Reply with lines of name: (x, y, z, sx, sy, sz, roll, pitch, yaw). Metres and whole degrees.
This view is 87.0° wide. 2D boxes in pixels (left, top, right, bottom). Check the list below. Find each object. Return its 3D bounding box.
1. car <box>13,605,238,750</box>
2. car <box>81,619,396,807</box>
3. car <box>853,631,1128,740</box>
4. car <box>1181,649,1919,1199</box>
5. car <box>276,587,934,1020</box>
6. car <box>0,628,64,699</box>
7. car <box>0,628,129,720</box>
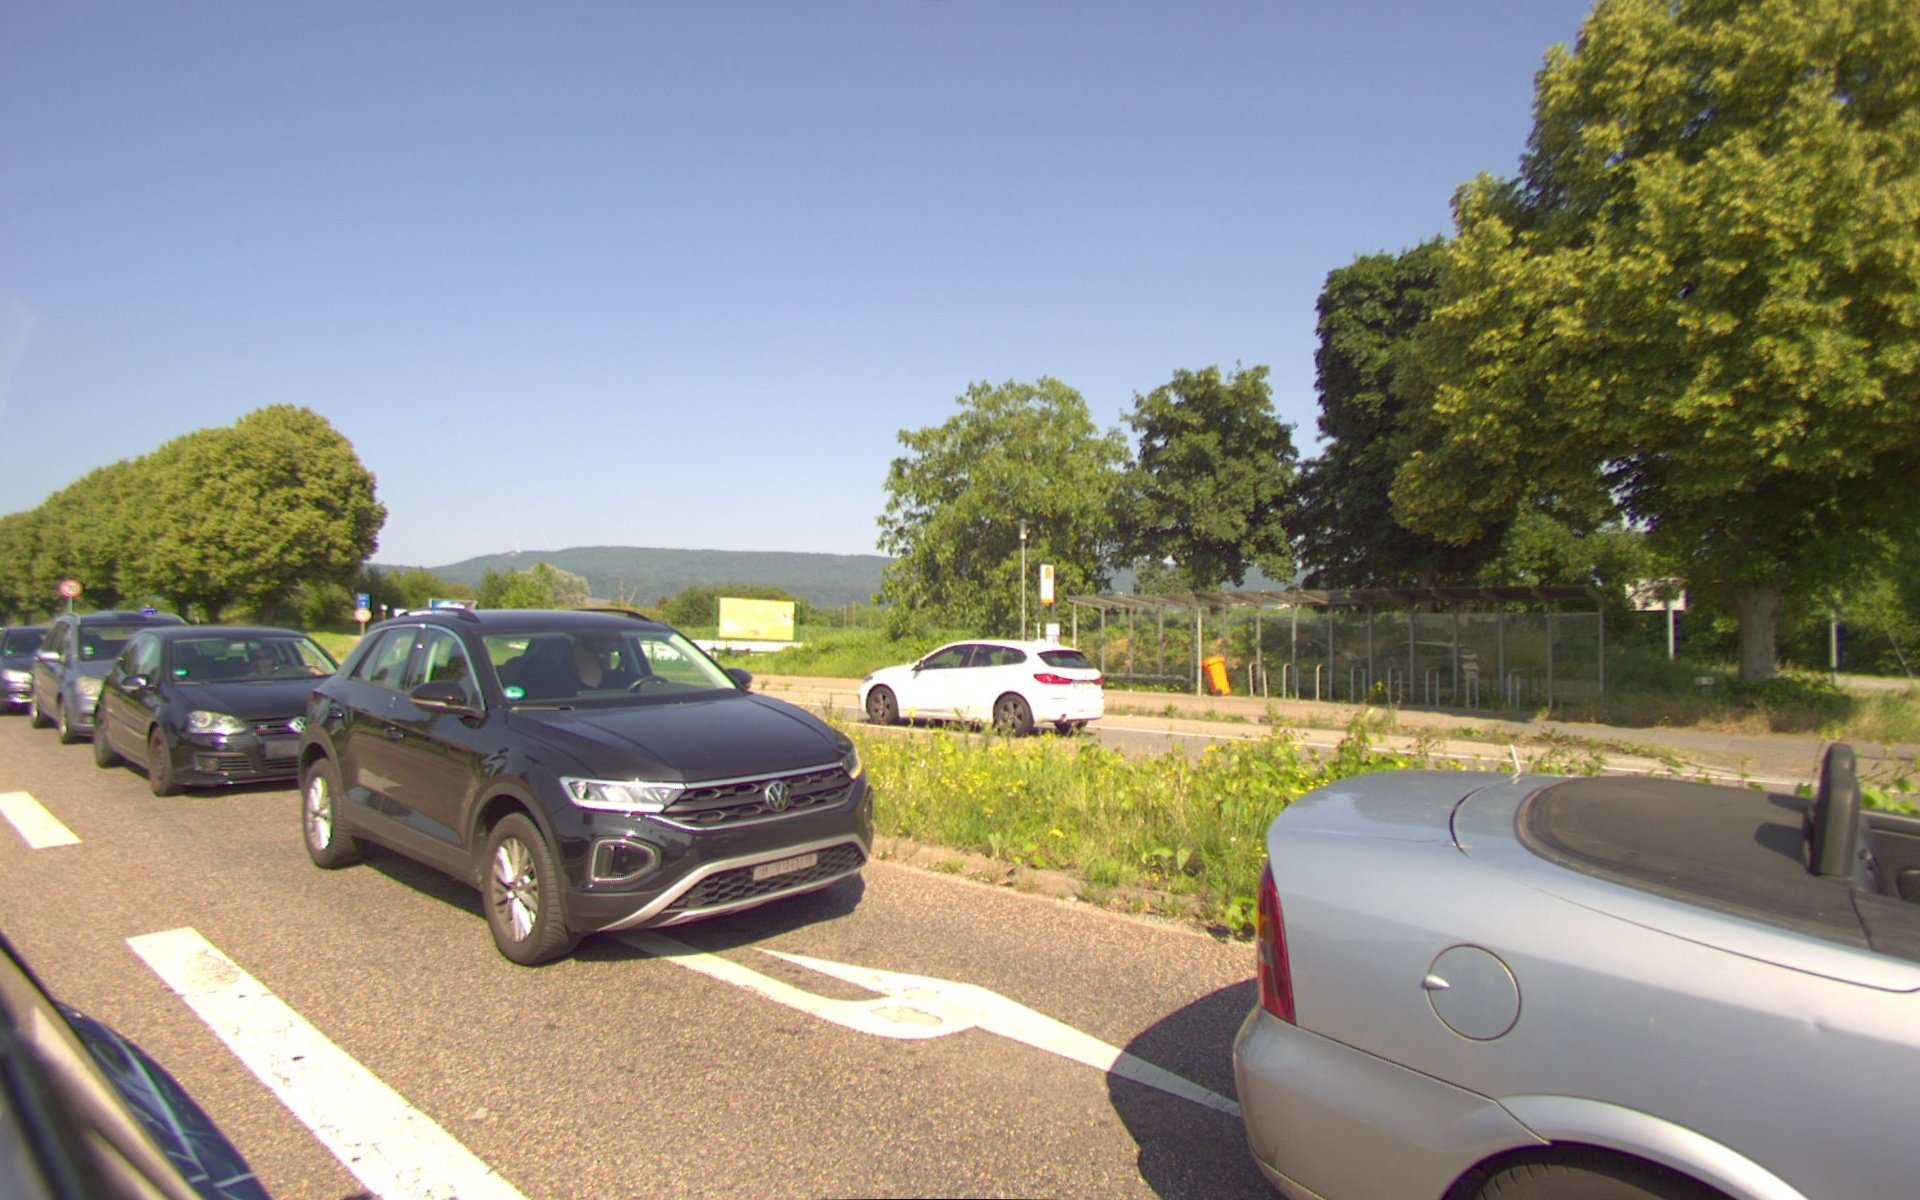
car: (-11.509, 0.952, 13.853, 4.355, 1.685, 1.723, -2, -2, 42)
car: (-7.219, 0.947, 9.975, 4.096, 1.486, 1.648, -2, -2, 42)
car: (0.418, 1.315, 16.361, 4.143, 1.527, 1.864, -1, -5, 39)
car: (2.528, 0.770, 1.360, 4.096, 1.345, 1.656, -1, -3, 42)
car: (-2.221, 0.790, 5.671, 4.096, 1.559, 1.710, -2, -2, 42)
car: (-21.295, 1.354, 22.261, 4.639, 1.436, 1.784, -1, -1, 41)
car: (-16.048, 1.202, 17.675, 4.353, 1.421, 1.696, -1, -2, 42)
